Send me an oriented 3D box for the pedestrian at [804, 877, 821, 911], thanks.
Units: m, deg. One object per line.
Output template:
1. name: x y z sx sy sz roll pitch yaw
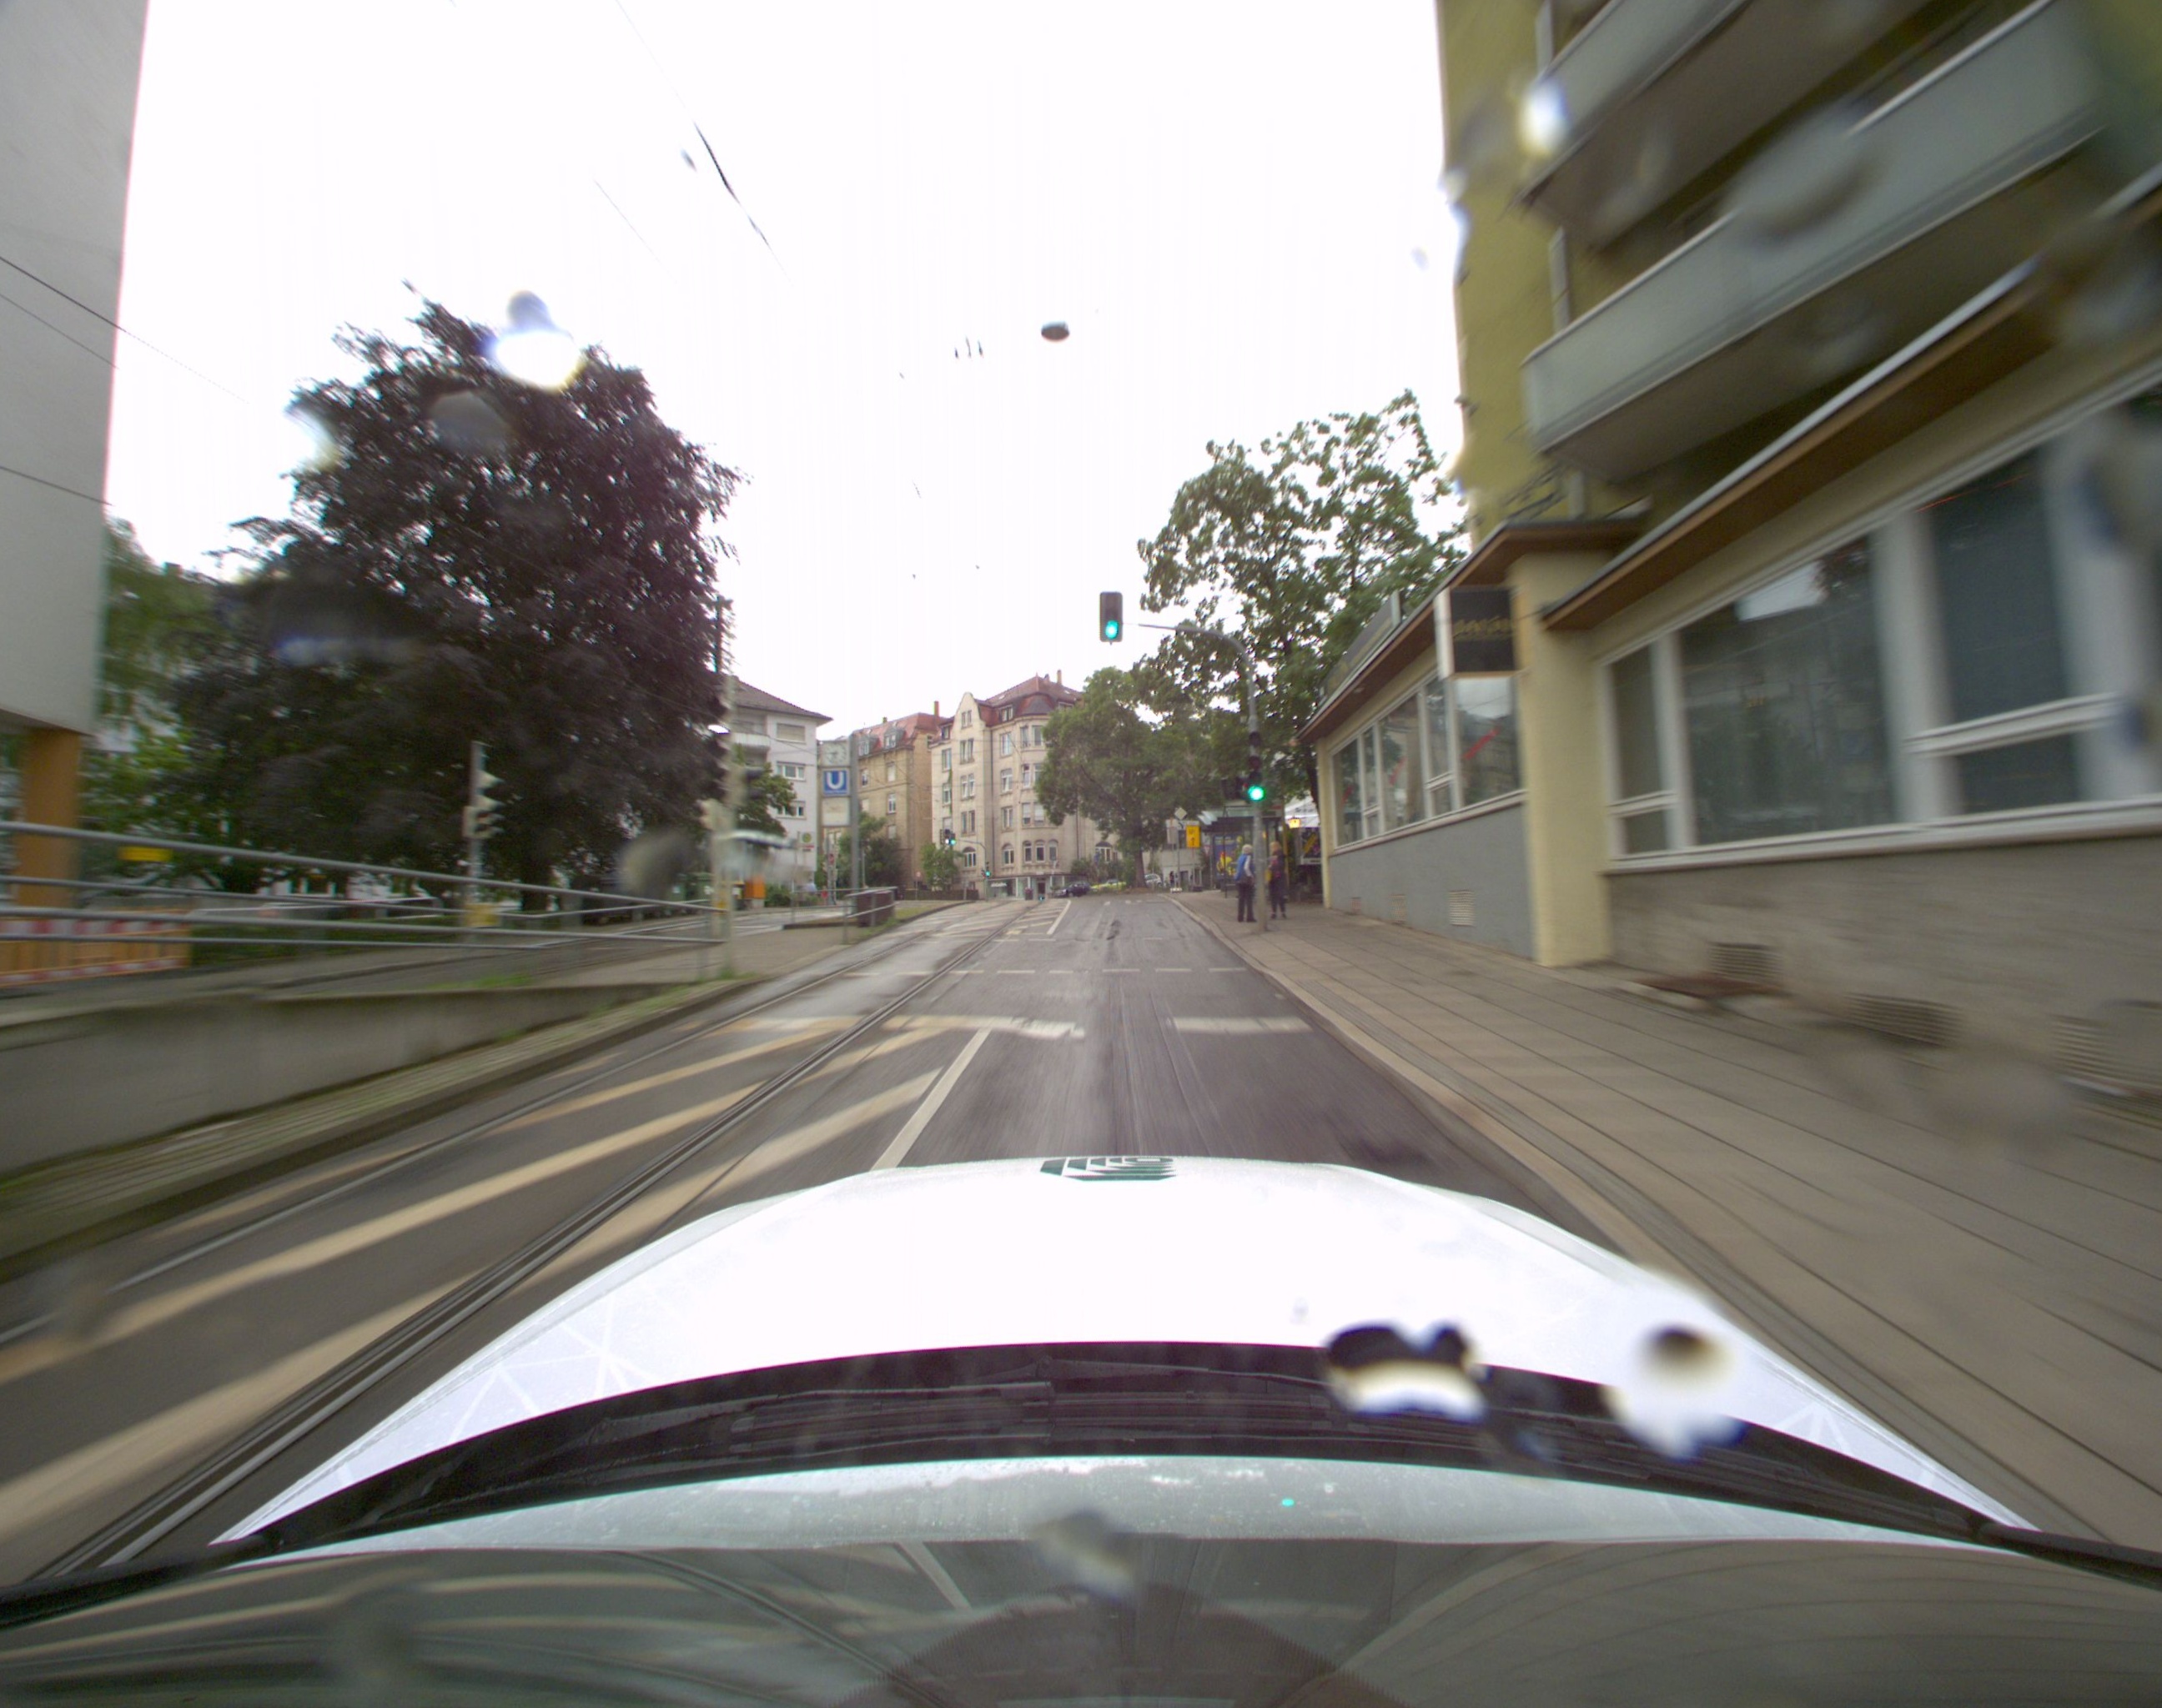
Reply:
1. pedestrian: -13.988 2.069 42.405 0.567 1.684 0.774 -3 -1 -5

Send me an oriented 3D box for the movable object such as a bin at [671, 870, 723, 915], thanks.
1. movable object such as a bin: -12.992 1.293 27.590 1.016 1.433 1.429 0 0 4

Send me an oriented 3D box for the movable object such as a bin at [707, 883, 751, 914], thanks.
1. movable object such as a bin: -13.526 1.701 31.325 1.016 1.138 1.344 0 0 4

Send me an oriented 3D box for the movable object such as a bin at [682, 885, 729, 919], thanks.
1. movable object such as a bin: -13.530 1.708 29.381 1.016 1.138 1.344 0 0 4

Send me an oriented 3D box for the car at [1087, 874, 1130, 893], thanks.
1. car: 2.501 2.664 73.891 3.690 1.508 1.717 -3 0 -40

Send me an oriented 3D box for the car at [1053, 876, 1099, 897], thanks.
1. car: -0.390 2.822 70.836 3.690 1.508 1.717 -3 0 -40

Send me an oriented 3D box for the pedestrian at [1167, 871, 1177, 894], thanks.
1. pedestrian: 6.333 1.958 56.722 0.599 1.566 0.544 0 0 -8

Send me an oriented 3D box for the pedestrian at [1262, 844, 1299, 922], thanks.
1. pedestrian: 4.161 0.595 17.014 0.544 1.554 0.559 -4 0 0

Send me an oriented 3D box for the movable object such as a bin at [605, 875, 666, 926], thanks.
1. movable object such as a bin: -13.205 1.359 24.185 1.016 1.433 1.357 0 0 4

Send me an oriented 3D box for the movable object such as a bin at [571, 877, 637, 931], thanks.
1. movable object such as a bin: -13.329 1.381 22.817 1.016 1.433 1.305 0 0 4

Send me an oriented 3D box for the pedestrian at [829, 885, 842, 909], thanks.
1. pedestrian: -18.328 3.204 60.807 0.749 1.700 0.665 -1 0 -43

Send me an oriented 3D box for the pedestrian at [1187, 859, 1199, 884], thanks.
1. pedestrian: 7.652 1.187 55.621 0.547 1.629 0.596 0 0 -31

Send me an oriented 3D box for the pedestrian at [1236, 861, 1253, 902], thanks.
1. pedestrian: 4.746 0.801 23.616 0.324 1.150 0.317 -5 0 -1

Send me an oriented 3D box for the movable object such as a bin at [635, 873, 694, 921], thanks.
1. movable object such as a bin: -13.167 1.336 25.794 1.016 1.433 1.446 0 0 4

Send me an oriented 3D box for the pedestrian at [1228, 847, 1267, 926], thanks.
1. pedestrian: 3.396 0.644 16.675 0.586 1.554 0.650 -4 0 2

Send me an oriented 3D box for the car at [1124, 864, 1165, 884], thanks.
1. car: 6.045 1.902 76.928 3.796 1.508 1.603 -5 -2 -44
